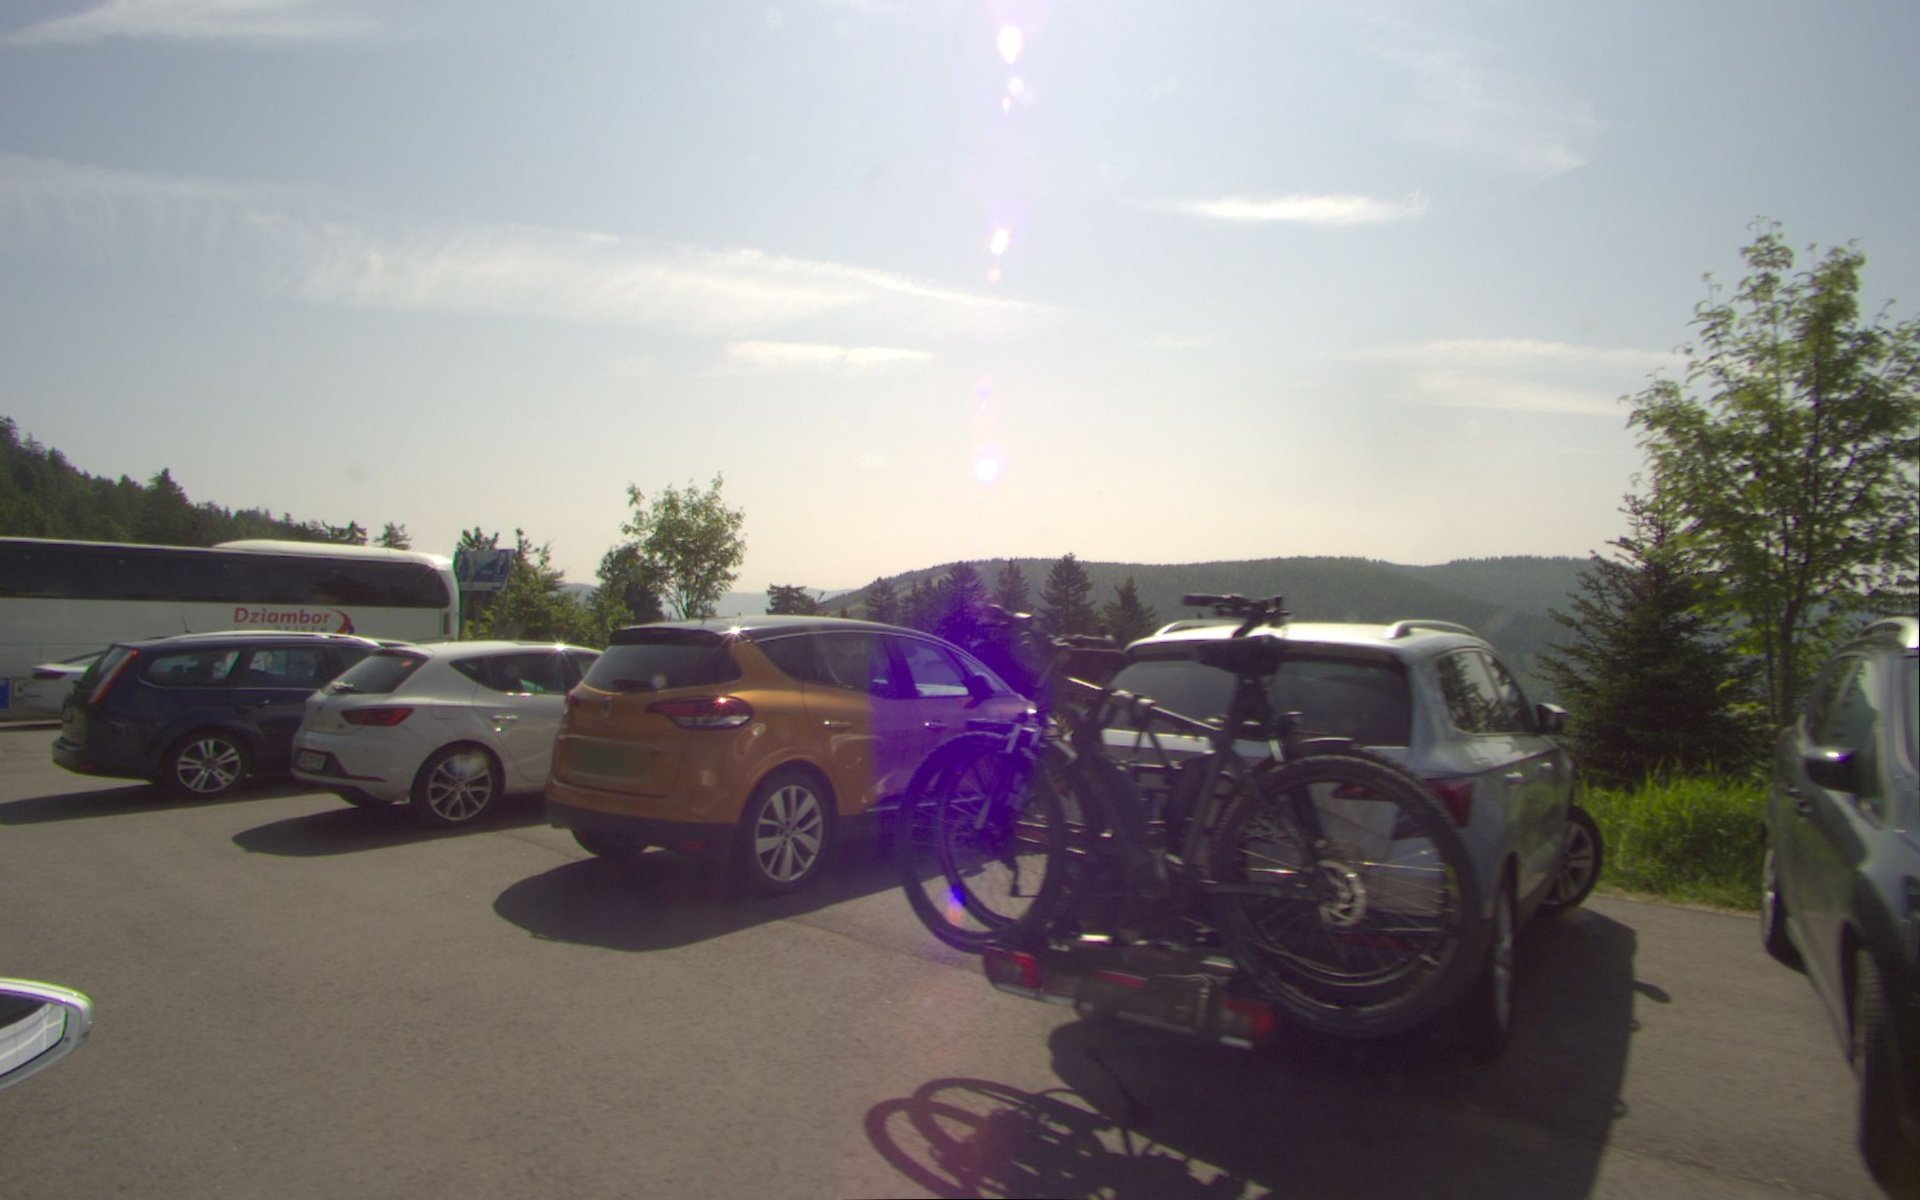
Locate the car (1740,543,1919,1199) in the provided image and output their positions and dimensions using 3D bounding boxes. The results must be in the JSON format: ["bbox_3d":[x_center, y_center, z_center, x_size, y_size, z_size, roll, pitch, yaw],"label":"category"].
[{"bbox_3d":[4.001,0.825,3.465,1.728,1.638,4.412,0,-4,34],"label":"car"}]

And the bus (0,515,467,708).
[{"bbox_3d":[-17.685,0.289,21.239,2.810,3.623,12.770,-1,-2,45],"label":"bus"}]

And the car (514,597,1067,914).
[{"bbox_3d":[-0.928,0.930,7.267,1.687,1.635,3.868,0,-4,36],"label":"car"}]

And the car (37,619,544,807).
[{"bbox_3d":[-6.730,1.019,10.463,1.652,1.564,4.113,0,-2,40],"label":"car"}]

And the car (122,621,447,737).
[{"bbox_3d":[-10.567,1.181,15.866,1.747,1.593,3.967,-1,-3,42],"label":"car"}]

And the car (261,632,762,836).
[{"bbox_3d":[-3.816,1.079,9.125,1.593,1.437,3.873,-2,-4,37],"label":"car"}]

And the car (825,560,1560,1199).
[{"bbox_3d":[1.596,0.855,4.792,1.985,1.647,4.467,0,-3,34],"label":"car"}]

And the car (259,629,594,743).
[{"bbox_3d":[-7.664,1.194,14.666,1.747,1.437,3.968,-1,-3,42],"label":"car"}]

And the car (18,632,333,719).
[{"bbox_3d":[-14.293,1.335,18.456,4.394,1.414,1.702,3,-3,-43],"label":"car"}]
